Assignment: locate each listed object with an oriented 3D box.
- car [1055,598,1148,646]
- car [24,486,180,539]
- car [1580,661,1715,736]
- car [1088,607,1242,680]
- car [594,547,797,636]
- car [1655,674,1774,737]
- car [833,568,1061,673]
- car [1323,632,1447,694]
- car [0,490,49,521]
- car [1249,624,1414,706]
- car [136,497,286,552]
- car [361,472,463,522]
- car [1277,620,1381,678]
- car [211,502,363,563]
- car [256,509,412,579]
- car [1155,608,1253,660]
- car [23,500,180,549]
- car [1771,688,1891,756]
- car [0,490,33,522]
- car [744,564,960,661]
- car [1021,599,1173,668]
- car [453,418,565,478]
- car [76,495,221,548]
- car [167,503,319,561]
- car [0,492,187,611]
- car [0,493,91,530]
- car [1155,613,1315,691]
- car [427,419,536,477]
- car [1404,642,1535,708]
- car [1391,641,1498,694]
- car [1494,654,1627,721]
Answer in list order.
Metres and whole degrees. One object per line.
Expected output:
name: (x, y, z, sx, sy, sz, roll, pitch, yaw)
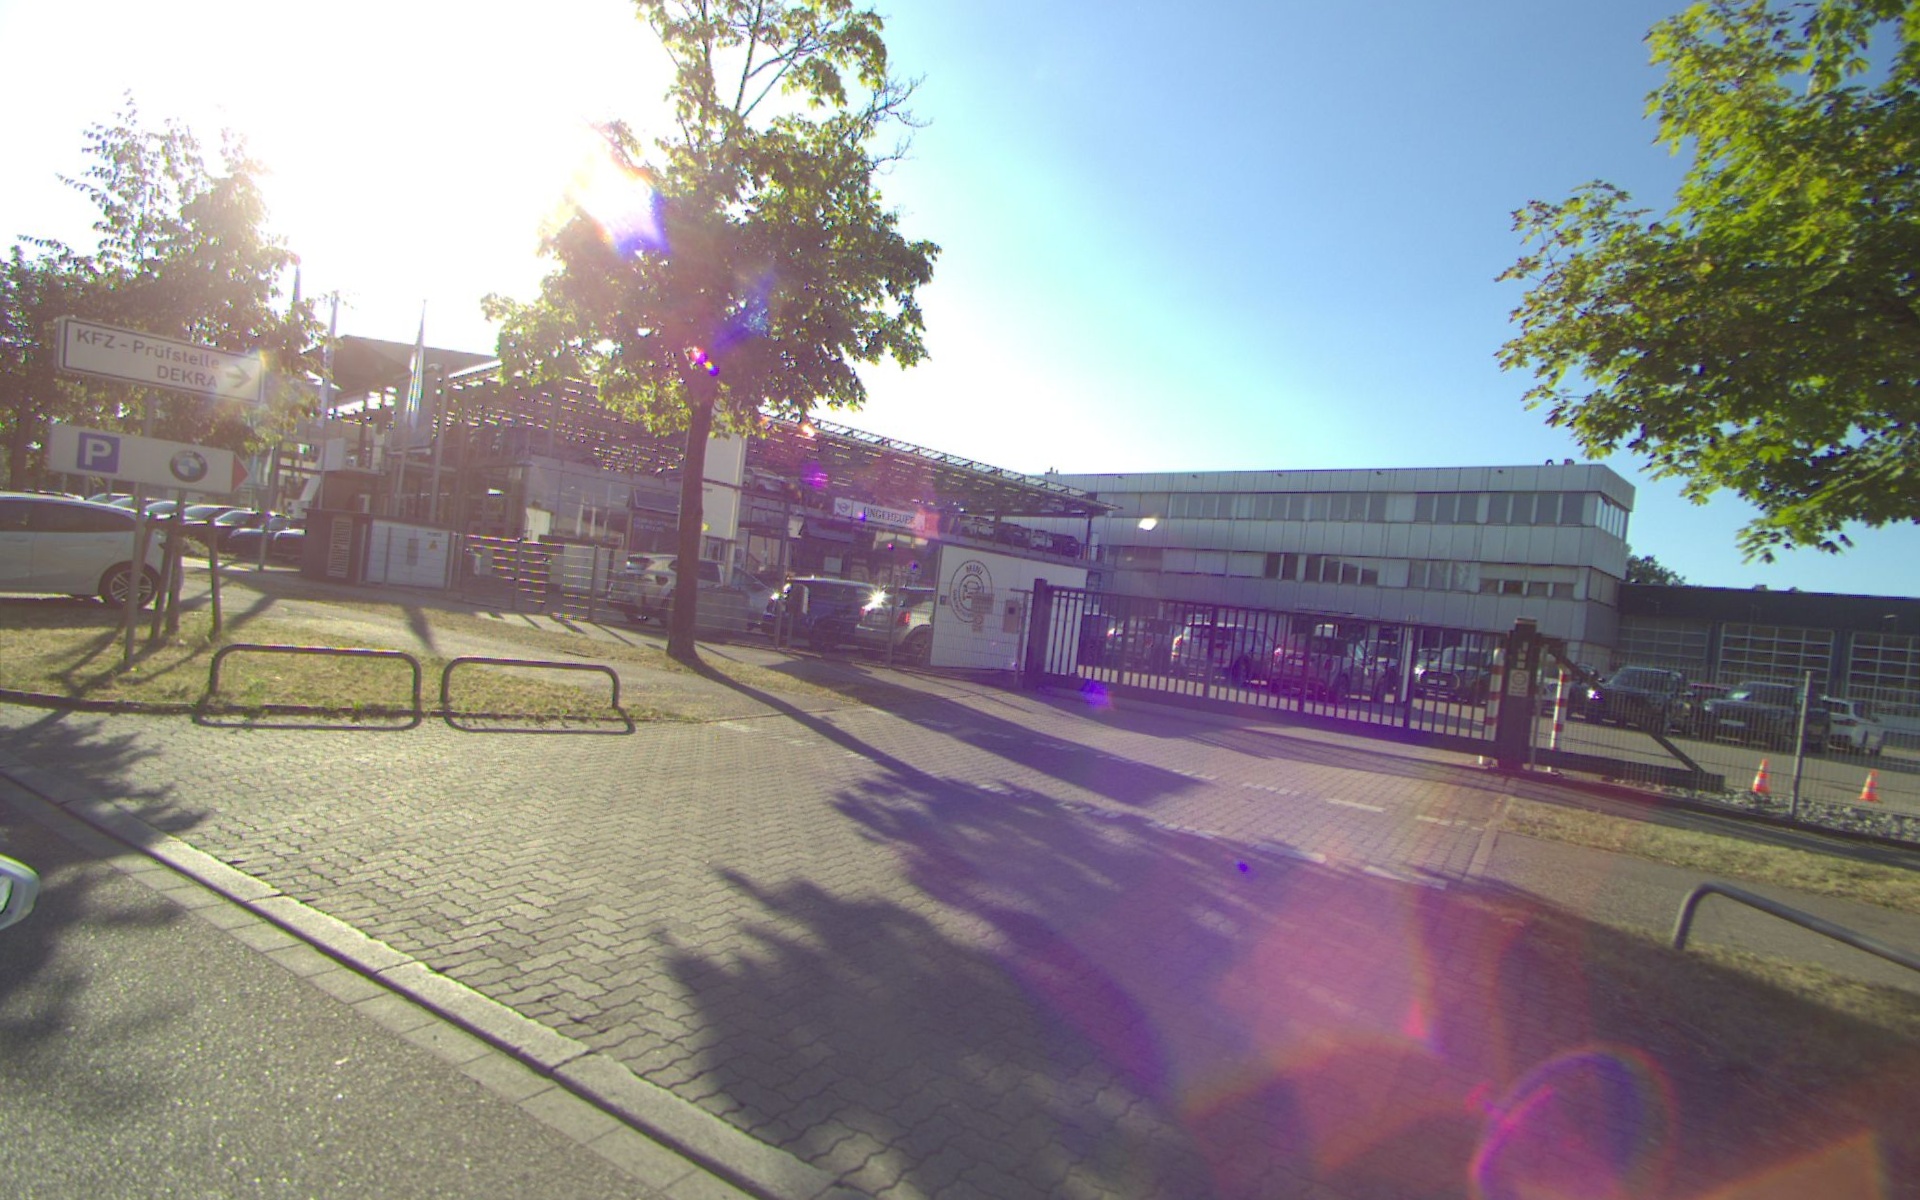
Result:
car: (6.422, 1.006, 45.480, 3.973, 1.763, 1.975, 6, 1, -43)
car: (-36.627, -3.693, 43.155, 2.365, 1.712, 4.727, 6, 1, 4)
car: (18.470, 2.650, 26.981, 3.968, 1.599, 1.827, 6, 2, -40)
car: (5.554, 1.181, 27.009, 3.969, 1.549, 1.903, 6, 0, -40)
car: (-6.046, -0.167, 23.211, 3.969, 1.598, 1.978, 6, 0, -40)
car: (22.581, 3.166, 30.057, 3.968, 1.493, 1.827, 6, 2, -40)
car: (-0.193, 0.420, 19.502, 3.969, 1.598, 1.978, 6, 0, -40)
car: (13.505, 2.009, 31.902, 3.968, 1.598, 1.884, 6, 1, -40)
car: (-55.398, -5.606, 57.252, 4.718, 1.482, 2.038, 6, 0, -18)
car: (8.796, 1.554, 23.669, 3.971, 1.549, 1.901, 6, 0, -42)
car: (-28.458, -2.835, 38.449, 1.962, 1.594, 4.604, 6, 1, 5)
car: (-27.213, -5.082, 50.042, 1.764, 1.685, 3.982, 7, -2, 44)
car: (13.875, 1.861, 37.733, 3.973, 1.763, 1.975, 6, 1, -43)
car: (-23.668, -2.324, 35.621, 1.962, 1.688, 4.603, 6, 1, 4)
car: (-20.986, -1.811, 33.998, 1.962, 1.686, 4.609, 7, -1, 5)
car: (10.098, 1.422, 41.477, 3.973, 1.763, 1.975, 6, 1, -43)
car: (-39.657, -3.458, 46.616, 5.107, 1.591, 1.994, 6, 0, -14)
car: (24.706, 3.437, 28.499, 3.968, 1.493, 1.827, 6, 2, -40)
car: (-49.738, -4.946, 50.169, 4.712, 1.482, 1.994, 6, 0, -14)
car: (-2.214, 0.288, 21.050, 3.969, 1.598, 1.978, 6, 0, -40)
car: (3.931, 0.970, 28.630, 3.969, 1.597, 2.138, 6, -2, -40)
car: (-19.759, -6.610, 44.169, 1.764, 1.685, 3.981, 7, -2, 44)
car: (-33.453, -3.206, 41.655, 1.962, 1.594, 4.606, 6, 0, 4)
car: (-26.288, -2.453, 37.101, 1.962, 1.594, 4.605, 6, 0, 4)
car: (-13.117, -0.730, 13.207, 2.052, 1.463, 4.202, 6, 1, 29)
car: (-49.541, -4.793, 53.387, 4.718, 1.482, 1.992, 6, 0, -18)
car: (6.887, 1.315, 25.043, 3.971, 1.549, 1.901, 6, 0, -42)
car: (-21.765, -6.854, 45.851, 1.764, 1.685, 3.981, 7, -2, 44)
car: (15.199, 2.244, 29.946, 3.968, 1.598, 1.978, 6, 0, -40)
car: (17.437, 2.434, 36.160, 3.968, 1.493, 1.827, 6, 2, -40)
car: (17.001, 2.491, 28.422, 3.968, 1.597, 1.979, 6, -2, -40)
